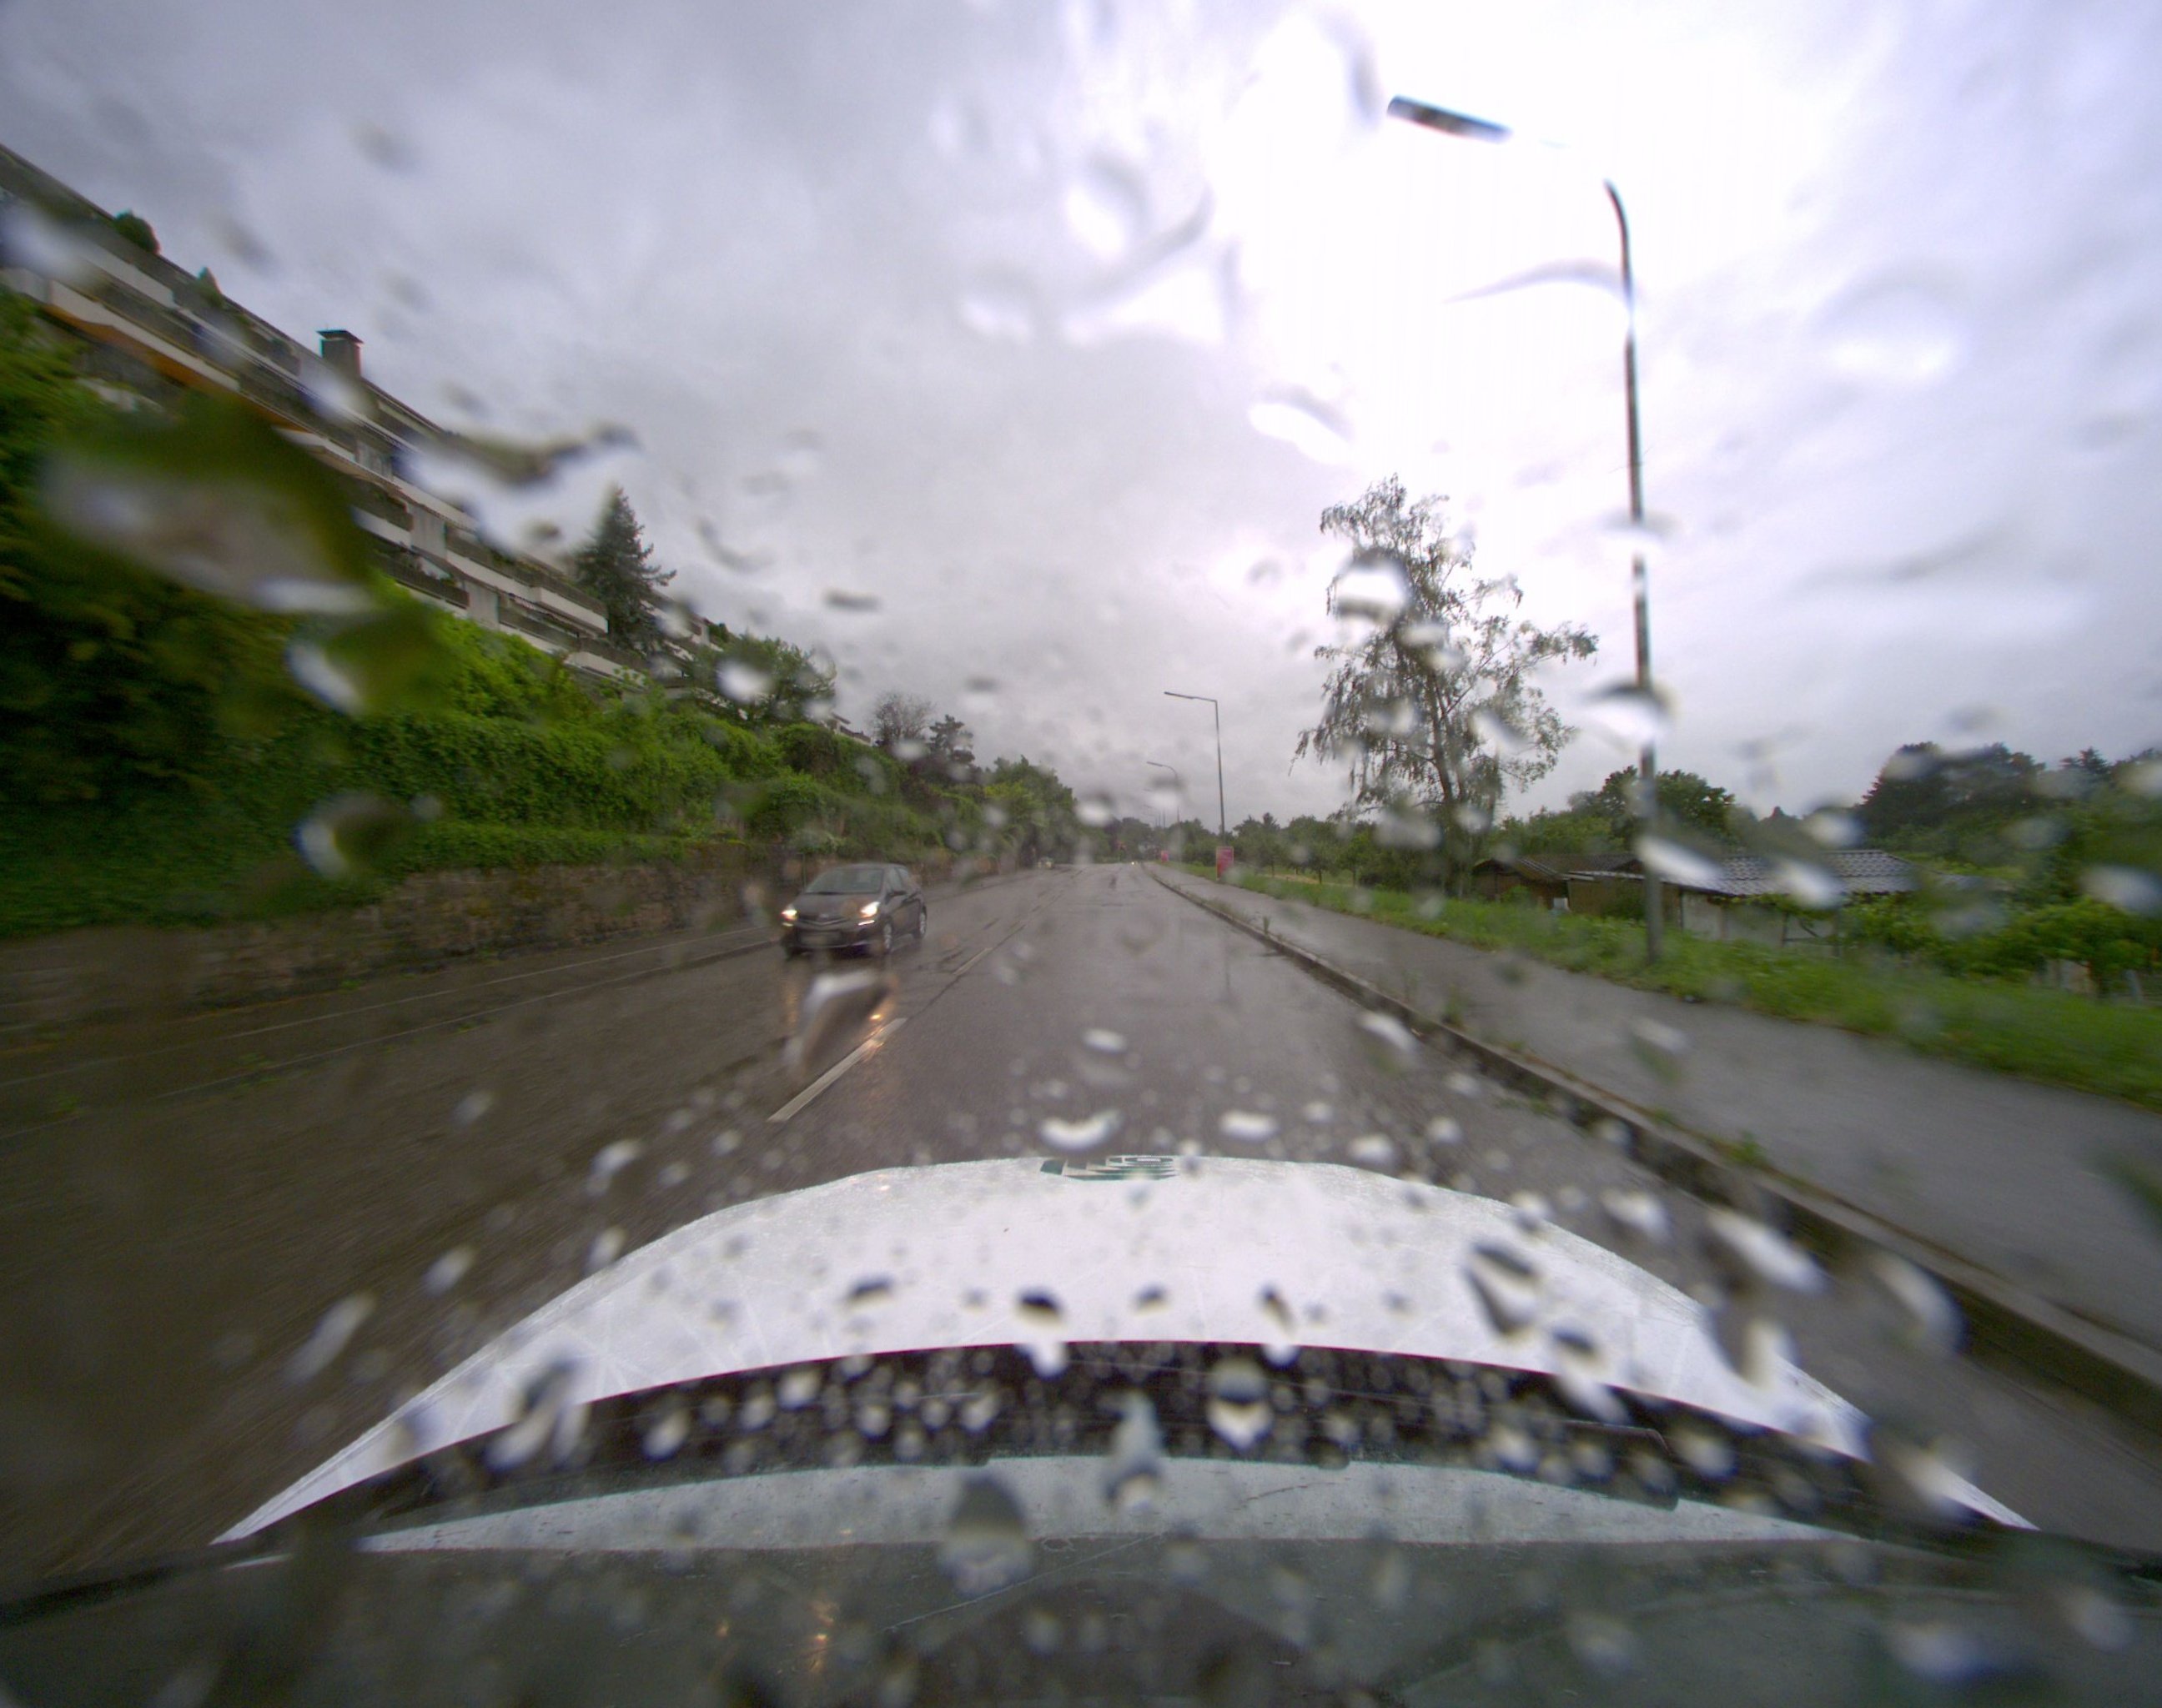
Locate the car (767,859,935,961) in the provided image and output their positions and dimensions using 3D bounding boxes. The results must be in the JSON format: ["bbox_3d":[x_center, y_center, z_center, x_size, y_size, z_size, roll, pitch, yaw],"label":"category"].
[{"bbox_3d":[-3.876,0.869,14.477,1.754,1.496,4.127,-2,0,0],"label":"car"}]

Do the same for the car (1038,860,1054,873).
[{"bbox_3d":[-4.049,1.433,94.066,1.722,1.496,3.986,-2,0,-1],"label":"car"}]

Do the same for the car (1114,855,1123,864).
[{"bbox_3d":[8.502,1.202,184.451,1.986,2.014,4.001,-2,-1,2],"label":"car"}]
